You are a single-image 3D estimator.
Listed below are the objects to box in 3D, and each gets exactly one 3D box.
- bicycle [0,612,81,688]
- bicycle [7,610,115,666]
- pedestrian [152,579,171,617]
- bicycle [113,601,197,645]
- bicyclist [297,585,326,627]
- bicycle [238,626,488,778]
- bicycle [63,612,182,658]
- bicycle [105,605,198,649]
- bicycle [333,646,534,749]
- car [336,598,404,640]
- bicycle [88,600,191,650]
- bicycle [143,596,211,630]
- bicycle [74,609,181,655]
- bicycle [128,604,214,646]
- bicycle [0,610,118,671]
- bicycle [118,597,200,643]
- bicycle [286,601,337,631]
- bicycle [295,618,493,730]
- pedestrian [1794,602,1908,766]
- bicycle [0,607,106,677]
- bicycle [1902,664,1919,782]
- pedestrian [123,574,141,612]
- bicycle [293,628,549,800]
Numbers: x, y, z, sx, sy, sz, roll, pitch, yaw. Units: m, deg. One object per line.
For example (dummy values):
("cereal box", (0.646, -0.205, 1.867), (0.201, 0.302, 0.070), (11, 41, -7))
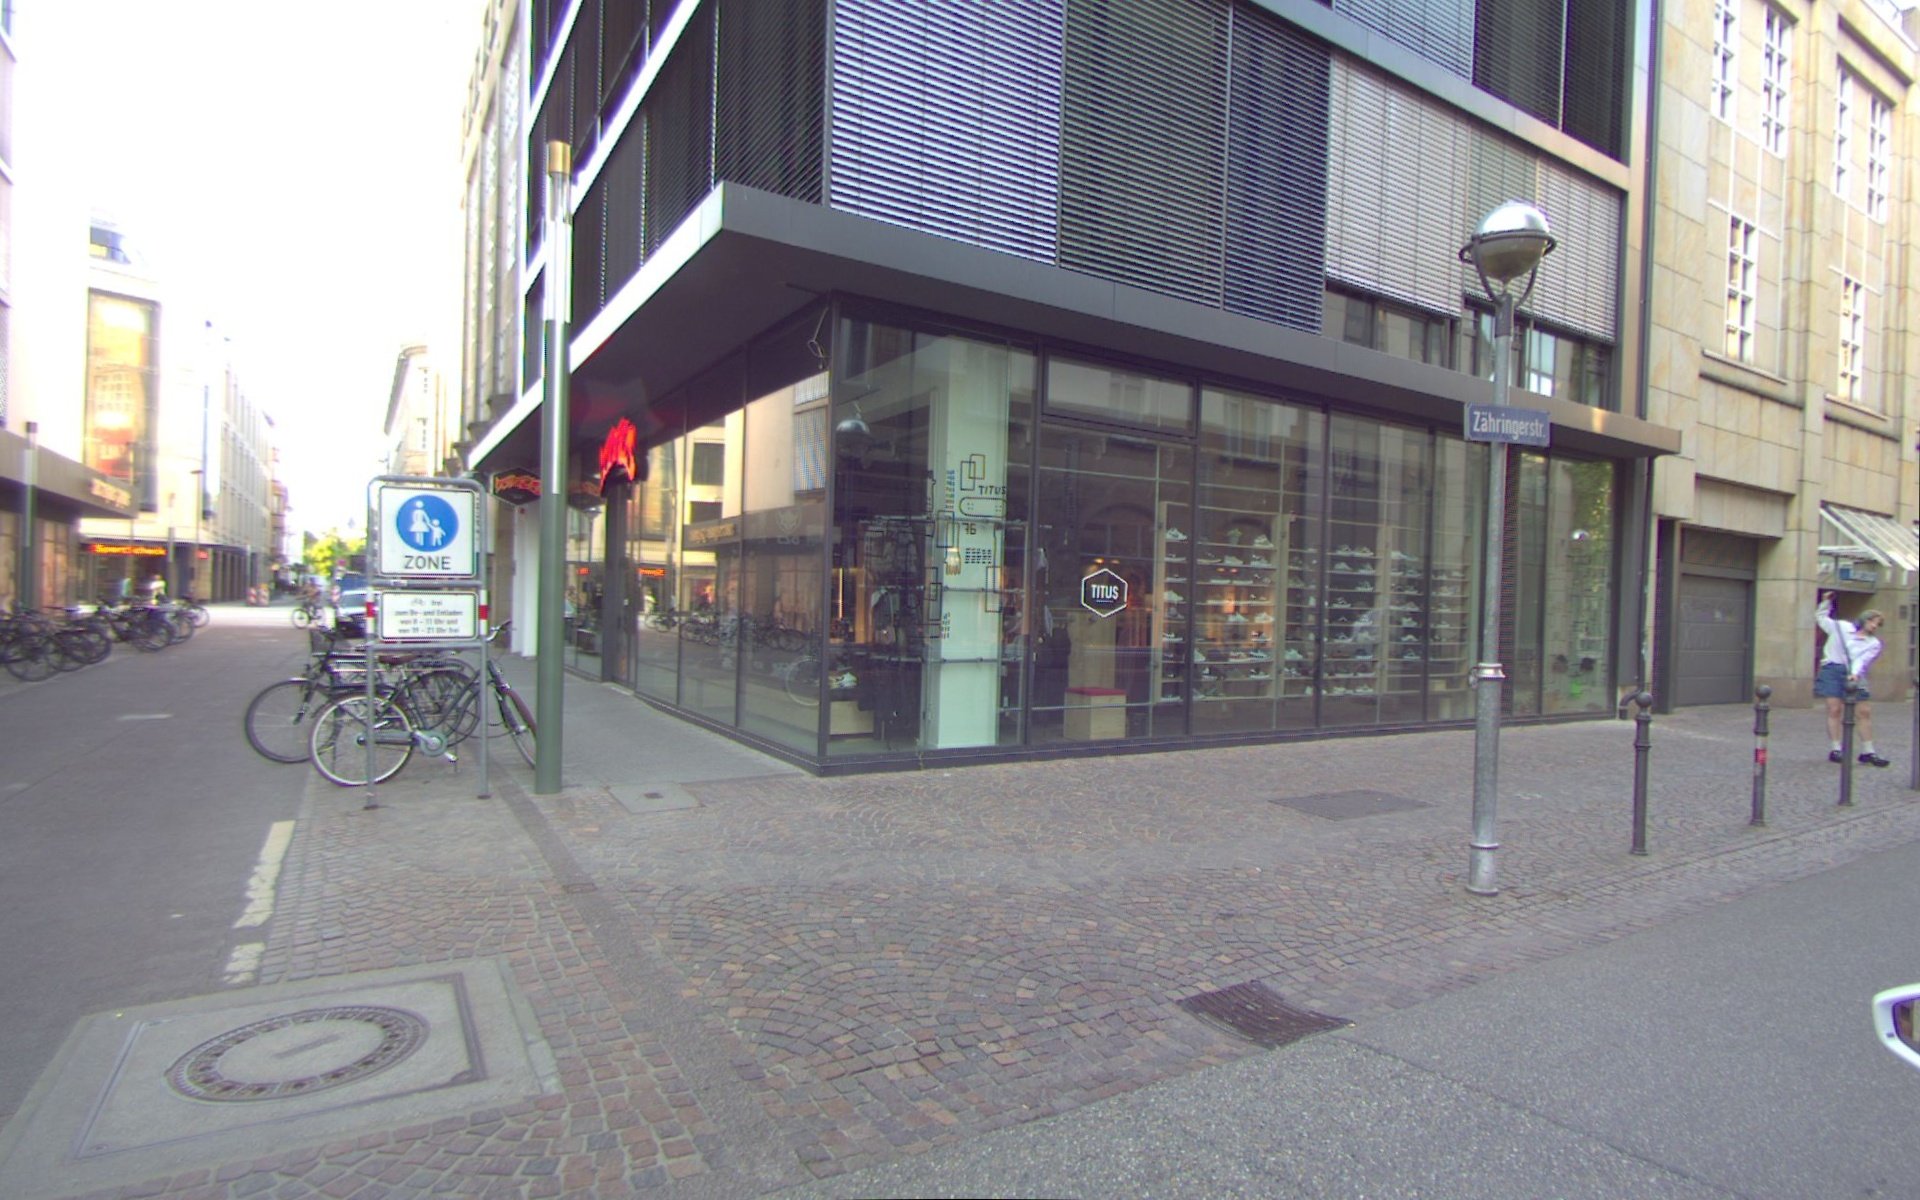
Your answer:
("bicycle", (-14.088, 0.732, 14.865), (1.526, 1.099, 0.543), (2, 0, -33))
("bicycle", (-16.974, 0.723, 18.997), (1.440, 1.019, 0.461), (2, 0, -33))
("pedestrian", (-33.951, -0.075, 42.723), (0.372, 1.594, 0.478), (1, 0, 7))
("bicycle", (-21.734, 0.618, 27.152), (1.715, 1.161, 0.461), (2, 0, -33))
("bicyclist", (-23.252, 0.206, 36.020), (0.563, 1.467, 0.737), (1, 1, 3))
("bicycle", (-5.166, 0.835, 8.778), (1.822, 1.165, 0.604), (0, 1, -33))
("bicycle", (-18.116, 0.761, 21.785), (1.924, 0.969, 0.461), (2, 0, -33))
("bicycle", (-20.195, 0.687, 25.131), (1.758, 1.065, 0.461), (2, 0, -33))
("bicycle", (-5.298, 0.954, 10.166), (1.774, 0.907, 0.450), (0, 1, -33))
("car", (-18.876, 0.598, 32.242), (1.608, 1.238, 3.463), (2, 0, -27))
("bicycle", (-19.573, 0.605, 24.006), (1.829, 1.151, 0.461), (2, 0, -33))
("bicycle", (-25.527, 0.438, 32.772), (1.715, 1.076, 0.433), (2, 0, -33))
("bicycle", (-18.826, 0.726, 22.760), (1.776, 1.021, 0.526), (2, 0, -33))
("bicycle", (-20.592, 0.664, 26.254), (1.715, 1.065, 0.461), (2, 0, -33))
("bicycle", (-16.147, 0.718, 18.008), (1.540, 1.051, 0.461), (2, 0, -33))
("bicycle", (-22.171, 0.564, 27.832), (1.715, 1.245, 0.461), (2, 0, -33))
("bicycle", (-23.264, 0.572, 36.068), (0.572, 1.028, 1.794), (1, 0, 3))
("bicycle", (-6.302, 0.785, 11.253), (1.891, 1.160, 0.552), (0, 1, -33))
("pedestrian", (10.026, 0.912, 11.311), (0.585, 1.741, 0.763), (1, 2, -33))
("bicycle", (-15.216, 0.687, 16.516), (1.710, 1.106, 0.543), (2, 0, -33))
("bicycle", (10.536, 1.274, 10.475), (1.893, 1.169, 0.530), (2, 2, -32))
("pedestrian", (-34.398, -0.300, 41.722), (0.429, 1.573, 0.476), (1, 0, 42))
("bicycle", (-4.082, 0.806, 7.667), (1.656, 1.128, 0.703), (0, 1, -33))
